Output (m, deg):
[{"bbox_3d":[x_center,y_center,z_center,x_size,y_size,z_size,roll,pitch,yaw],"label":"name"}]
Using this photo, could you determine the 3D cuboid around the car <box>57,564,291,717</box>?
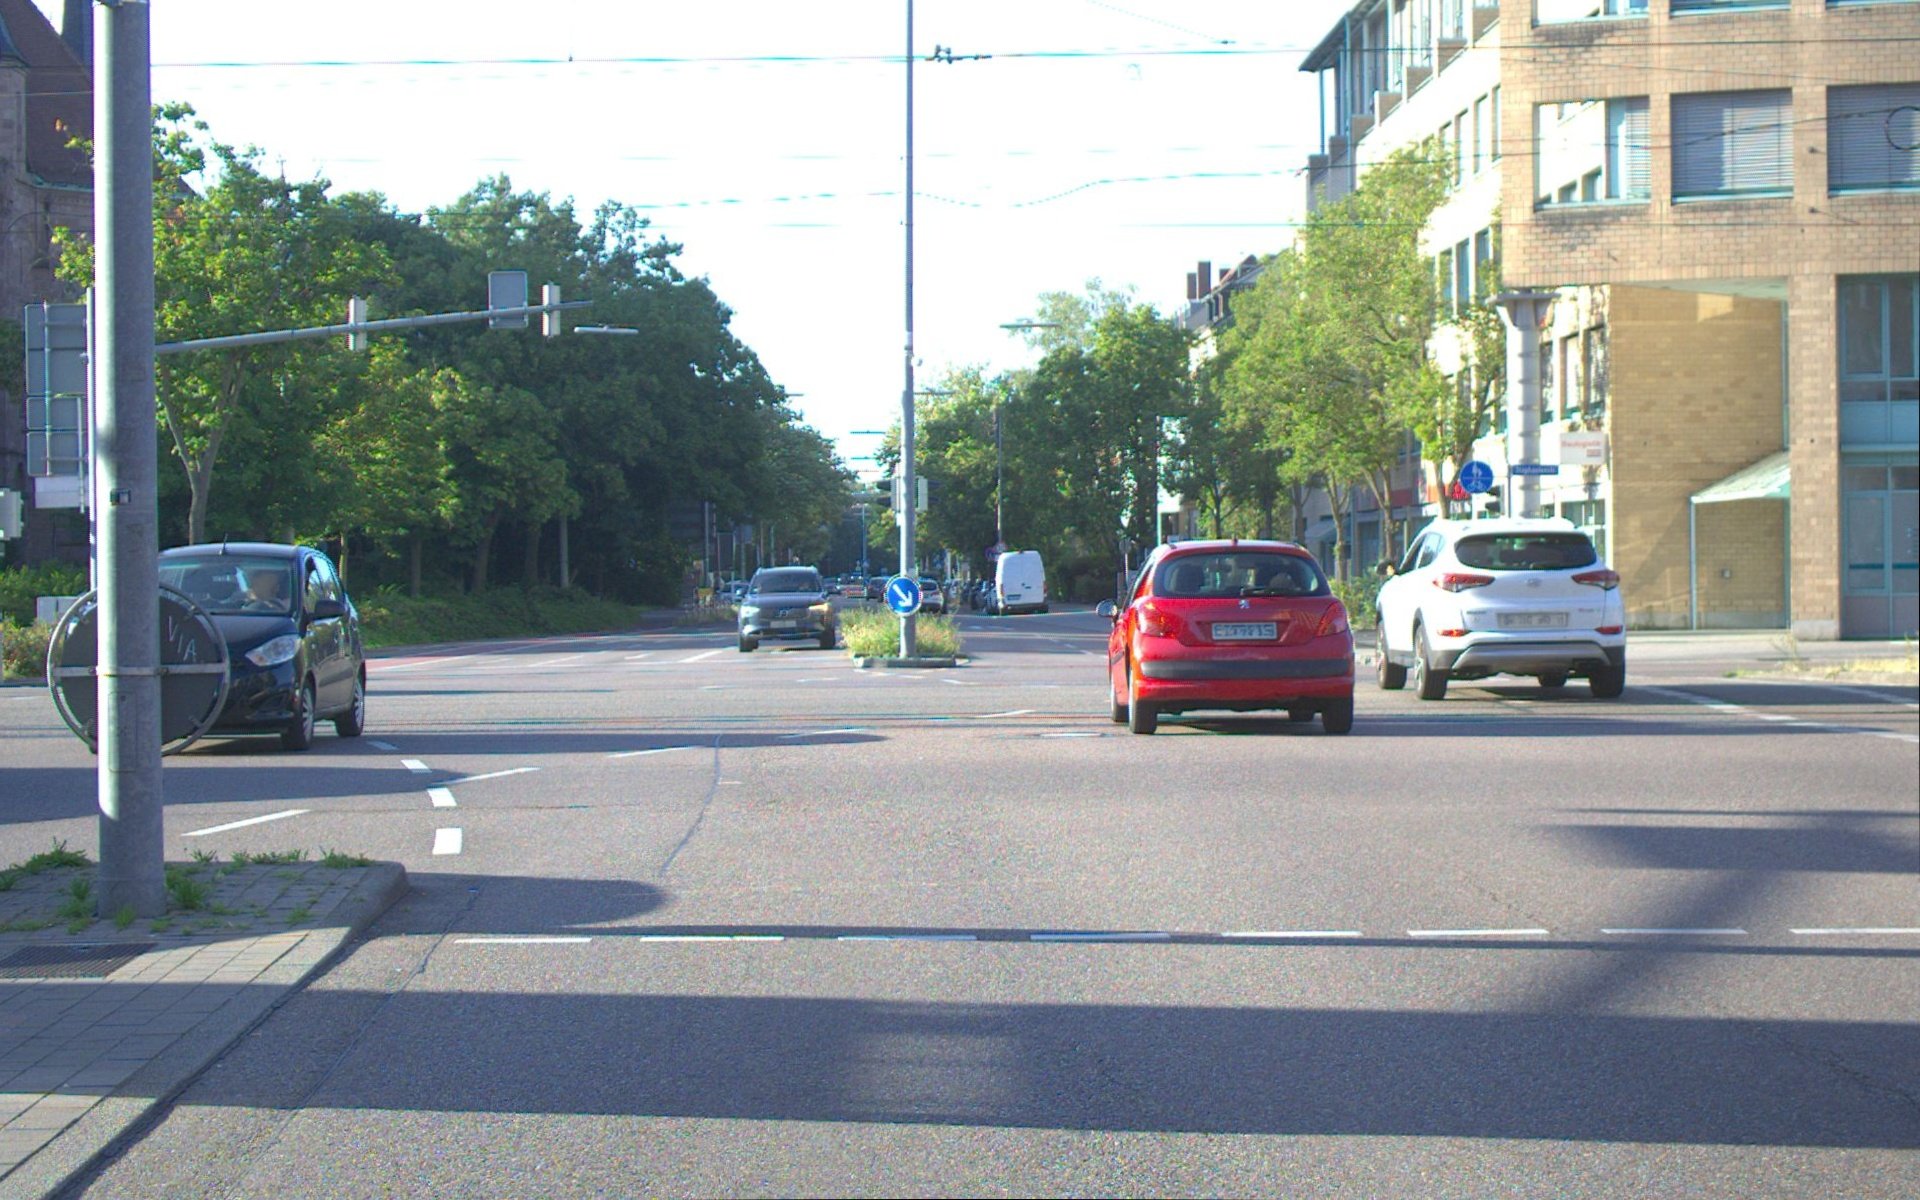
[{"bbox_3d":[-8.925,0.417,39.344,1.794,1.560,4.148,-1,2,-1],"label":"car"}]

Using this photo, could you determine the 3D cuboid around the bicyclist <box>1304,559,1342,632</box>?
[{"bbox_3d":[6.929,-0.085,65.653,0.592,1.364,0.930,1,0,0],"label":"bicyclist"}]

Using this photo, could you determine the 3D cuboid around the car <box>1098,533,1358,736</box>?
[{"bbox_3d":[2.038,0.231,27.084,1.670,1.457,4.000,1,1,-1],"label":"car"}]

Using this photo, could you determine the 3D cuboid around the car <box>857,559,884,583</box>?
[{"bbox_3d":[-6.526,-2.114,251.240,1.886,1.665,4.000,1,0,0],"label":"car"}]

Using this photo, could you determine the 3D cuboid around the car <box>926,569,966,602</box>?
[{"bbox_3d":[-0.563,-0.582,139.436,1.594,1.263,3.267,0,1,0],"label":"car"}]

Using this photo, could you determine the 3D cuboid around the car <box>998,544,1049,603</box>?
[{"bbox_3d":[2.644,-1.115,144.451,1.993,2.432,4.000,1,0,0],"label":"car"}]

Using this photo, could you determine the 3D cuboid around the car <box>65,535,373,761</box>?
[{"bbox_3d":[-5.547,0.306,26.108,1.578,1.539,3.477,-2,1,-1],"label":"car"}]

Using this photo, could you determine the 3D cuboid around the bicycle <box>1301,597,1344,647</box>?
[{"bbox_3d":[6.917,0.416,65.659,0.592,0.940,1.978,1,0,0],"label":"bicycle"}]

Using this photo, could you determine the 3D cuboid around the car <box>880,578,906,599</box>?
[{"bbox_3d":[-4.251,-0.704,217.010,1.594,1.263,3.266,0,1,0],"label":"car"}]

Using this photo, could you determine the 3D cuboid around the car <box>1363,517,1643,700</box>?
[{"bbox_3d":[5.074,0.056,32.666,1.916,1.602,4.270,1,1,-1],"label":"car"}]

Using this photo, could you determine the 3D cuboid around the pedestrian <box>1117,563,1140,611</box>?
[{"bbox_3d":[6.395,-0.509,130.525,0.847,1.797,0.776,0,1,-1],"label":"pedestrian"}]

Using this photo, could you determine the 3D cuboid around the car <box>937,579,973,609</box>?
[{"bbox_3d":[-0.242,-0.287,153.632,1.594,1.263,3.266,0,1,0],"label":"car"}]

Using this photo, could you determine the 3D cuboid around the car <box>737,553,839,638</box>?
[{"bbox_3d":[-3.601,-0.079,72.710,1.993,1.718,5.031,-1,0,-1],"label":"car"}]

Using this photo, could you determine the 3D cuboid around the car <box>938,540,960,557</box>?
[{"bbox_3d":[-0.803,-3.831,254.800,1.594,1.263,3.266,0,1,0],"label":"car"}]
